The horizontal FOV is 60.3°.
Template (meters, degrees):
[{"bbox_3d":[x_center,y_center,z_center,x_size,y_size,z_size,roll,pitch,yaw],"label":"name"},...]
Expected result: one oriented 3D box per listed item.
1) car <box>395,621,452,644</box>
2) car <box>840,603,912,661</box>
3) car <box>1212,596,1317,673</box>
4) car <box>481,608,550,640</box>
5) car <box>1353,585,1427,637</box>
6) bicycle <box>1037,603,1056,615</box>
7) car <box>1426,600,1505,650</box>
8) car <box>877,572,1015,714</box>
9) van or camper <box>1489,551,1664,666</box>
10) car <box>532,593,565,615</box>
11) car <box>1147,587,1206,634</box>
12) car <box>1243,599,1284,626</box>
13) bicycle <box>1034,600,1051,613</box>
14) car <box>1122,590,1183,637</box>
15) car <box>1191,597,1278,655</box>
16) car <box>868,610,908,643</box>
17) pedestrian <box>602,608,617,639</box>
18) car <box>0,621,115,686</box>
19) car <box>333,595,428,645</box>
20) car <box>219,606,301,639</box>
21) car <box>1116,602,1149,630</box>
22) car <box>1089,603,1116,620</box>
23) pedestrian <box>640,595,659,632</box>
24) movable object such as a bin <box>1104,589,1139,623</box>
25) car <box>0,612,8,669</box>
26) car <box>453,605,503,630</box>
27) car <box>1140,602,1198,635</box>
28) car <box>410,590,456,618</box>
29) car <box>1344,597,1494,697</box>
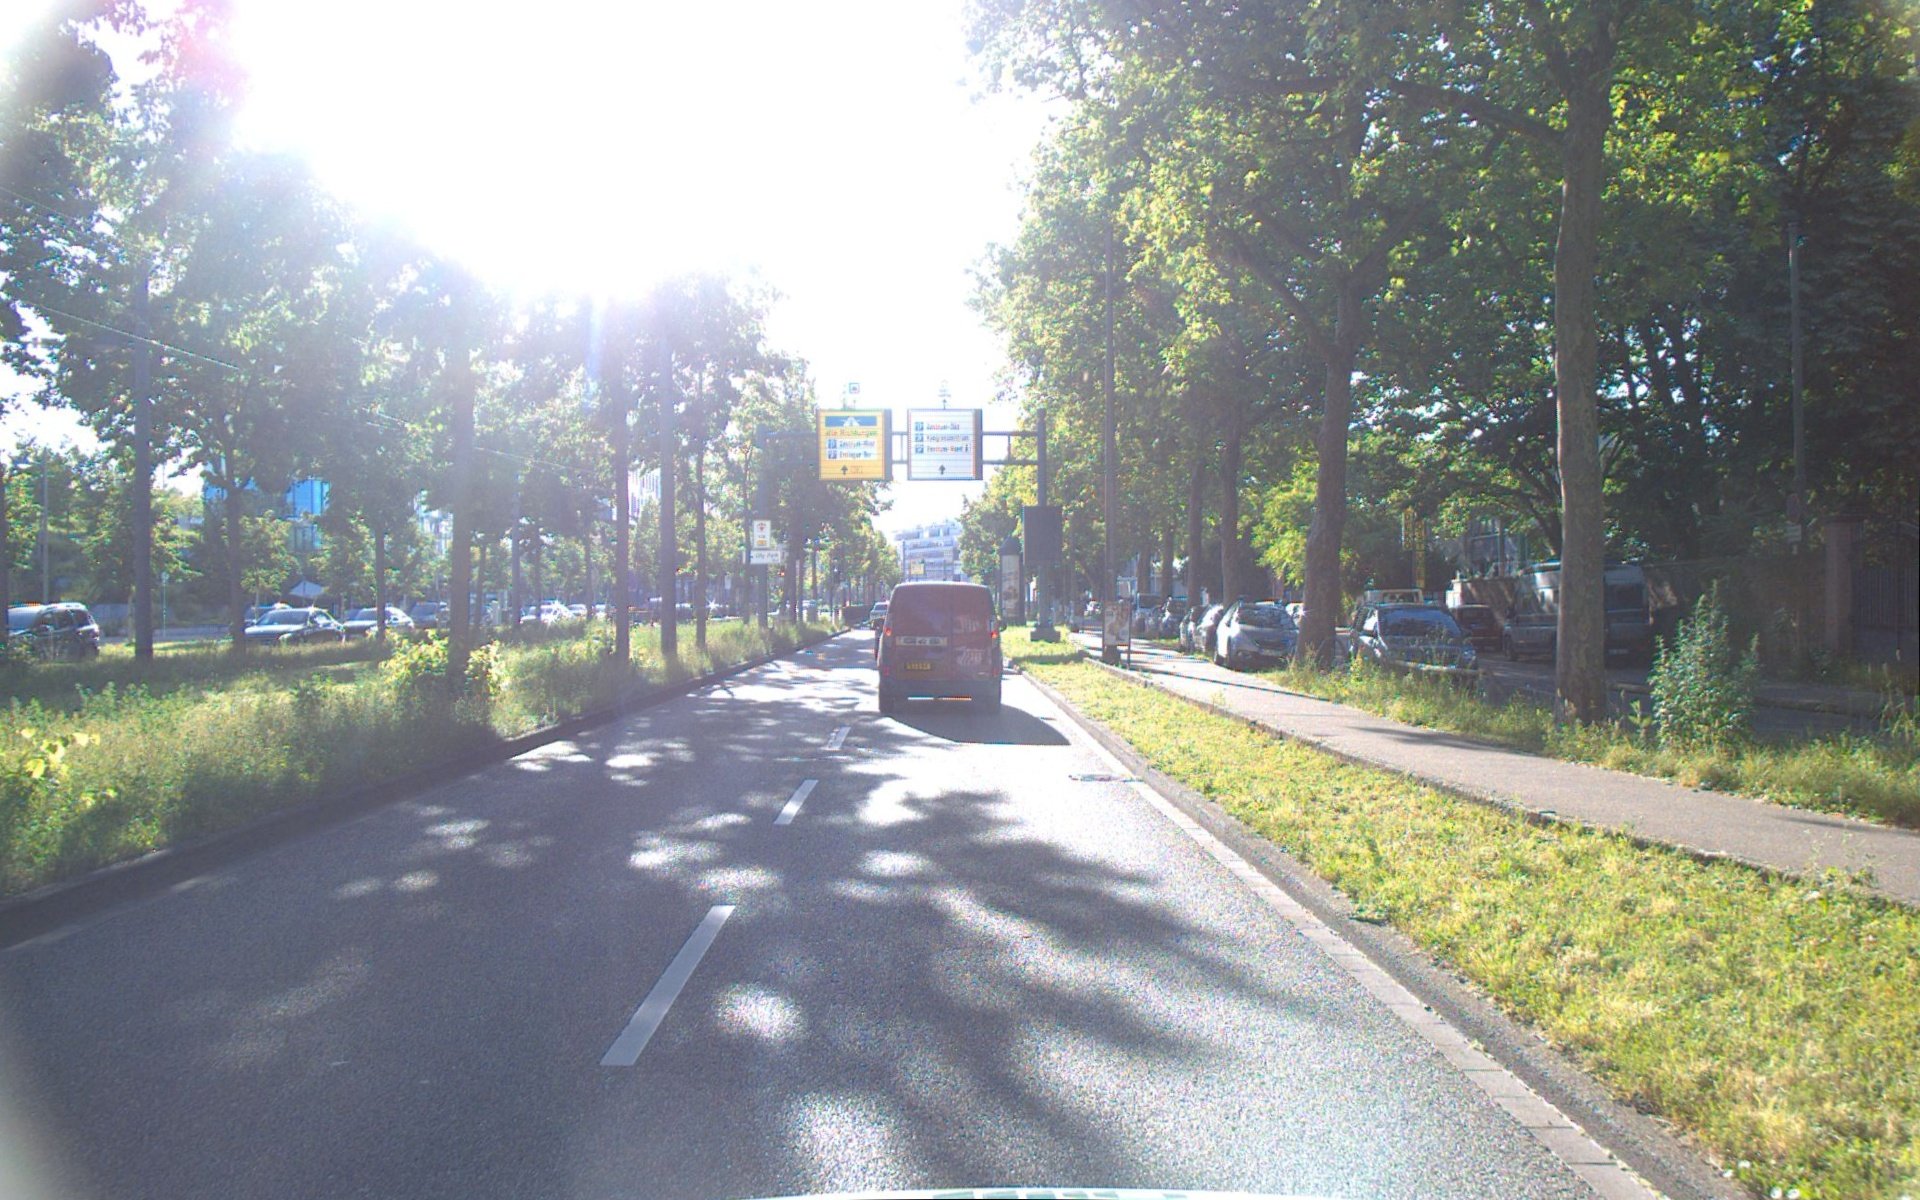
[{"bbox_3d":[-32.444,1.950,100.179,1.873,1.348,4.610,1,-1,0],"label":"car"},{"bbox_3d":[-2.241,0.857,45.004,1.755,1.453,3.999,1,-1,-1],"label":"car"},{"bbox_3d":[6.967,0.774,38.190,1.756,1.587,4.021,3,-1,2],"label":"car"},{"bbox_3d":[-21.347,1.138,79.643,1.952,1.466,4.457,1,-1,2],"label":"car"},{"bbox_3d":[17.562,0.457,67.776,2.043,2.049,4.945,0,0,4],"label":"car"},{"bbox_3d":[9.020,0.939,172.308,1.878,1.290,0.479,0,0,0],"label":"bicycle"},{"bbox_3d":[16.555,0.810,54.292,1.655,1.498,3.760,-2,-1,5],"label":"car"},{"bbox_3d":[-0.287,0.603,24.210,1.773,1.870,3.997,1,-1,-4],"label":"car"},{"bbox_3d":[16.272,0.201,44.151,2.503,2.731,6.568,-2,0,4],"label":"van or camper"},{"bbox_3d":[-39.353,0.398,158.406,1.953,2.049,4.563,1,-1,0],"label":"car"},{"bbox_3d":[8.169,0.414,62.734,1.701,1.671,4.352,1,-1,1],"label":"car"},{"bbox_3d":[19.688,0.833,107.332,1.952,1.669,4.000,1,-1,0],"label":"car"},{"bbox_3d":[8.611,0.704,173.508,1.742,1.290,0.479,1,-1,0],"label":"bicycle"},{"bbox_3d":[8.783,0.624,76.045,2.145,2.049,5.820,1,-1,1],"label":"car"},{"bbox_3d":[7.444,0.695,45.170,1.756,1.463,3.884,1,-1,1],"label":"car"},{"bbox_3d":[-3.833,1.409,88.244,1.953,1.646,3.999,1,-1,-1],"label":"car"},{"bbox_3d":[-17.650,1.193,83.275,0.538,1.545,0.589,1,-1,4],"label":"pedestrian"},{"bbox_3d":[-22.928,1.259,40.478,1.952,1.466,4.703,1,-1,2],"label":"car"},{"bbox_3d":[-22.824,0.764,65.347,1.953,1.873,5.249,0,0,-1],"label":"car"},{"bbox_3d":[-31.920,1.003,75.584,1.841,1.460,4.610,0,0,-1],"label":"car"},{"bbox_3d":[9.758,0.929,93.843,1.627,1.527,2.989,1,-1,2],"label":"car"},{"bbox_3d":[11.733,0.946,136.336,1.833,1.391,3.999,1,-1,-1],"label":"car"},{"bbox_3d":[-15.994,0.688,85.206,0.804,1.868,0.726,1,-1,-3],"label":"pedestrian"},{"bbox_3d":[10.170,0.386,104.152,2.038,2.049,2.137,1,-1,3],"label":"movable object such as a bin"},{"bbox_3d":[-31.270,1.239,50.361,1.954,1.803,4.773,1,-1,-3],"label":"car"},{"bbox_3d":[-32.320,1.178,111.091,1.953,1.636,4.610,1,-1,0],"label":"car"},{"bbox_3d":[8.779,0.765,69.790,1.952,1.312,4.053,1,-1,0],"label":"car"},{"bbox_3d":[-39.942,0.298,125.411,1.953,2.049,4.563,2,-1,0],"label":"car"},{"bbox_3d":[8.365,0.822,30.538,1.755,1.663,4.628,1,-1,4],"label":"car"}]
